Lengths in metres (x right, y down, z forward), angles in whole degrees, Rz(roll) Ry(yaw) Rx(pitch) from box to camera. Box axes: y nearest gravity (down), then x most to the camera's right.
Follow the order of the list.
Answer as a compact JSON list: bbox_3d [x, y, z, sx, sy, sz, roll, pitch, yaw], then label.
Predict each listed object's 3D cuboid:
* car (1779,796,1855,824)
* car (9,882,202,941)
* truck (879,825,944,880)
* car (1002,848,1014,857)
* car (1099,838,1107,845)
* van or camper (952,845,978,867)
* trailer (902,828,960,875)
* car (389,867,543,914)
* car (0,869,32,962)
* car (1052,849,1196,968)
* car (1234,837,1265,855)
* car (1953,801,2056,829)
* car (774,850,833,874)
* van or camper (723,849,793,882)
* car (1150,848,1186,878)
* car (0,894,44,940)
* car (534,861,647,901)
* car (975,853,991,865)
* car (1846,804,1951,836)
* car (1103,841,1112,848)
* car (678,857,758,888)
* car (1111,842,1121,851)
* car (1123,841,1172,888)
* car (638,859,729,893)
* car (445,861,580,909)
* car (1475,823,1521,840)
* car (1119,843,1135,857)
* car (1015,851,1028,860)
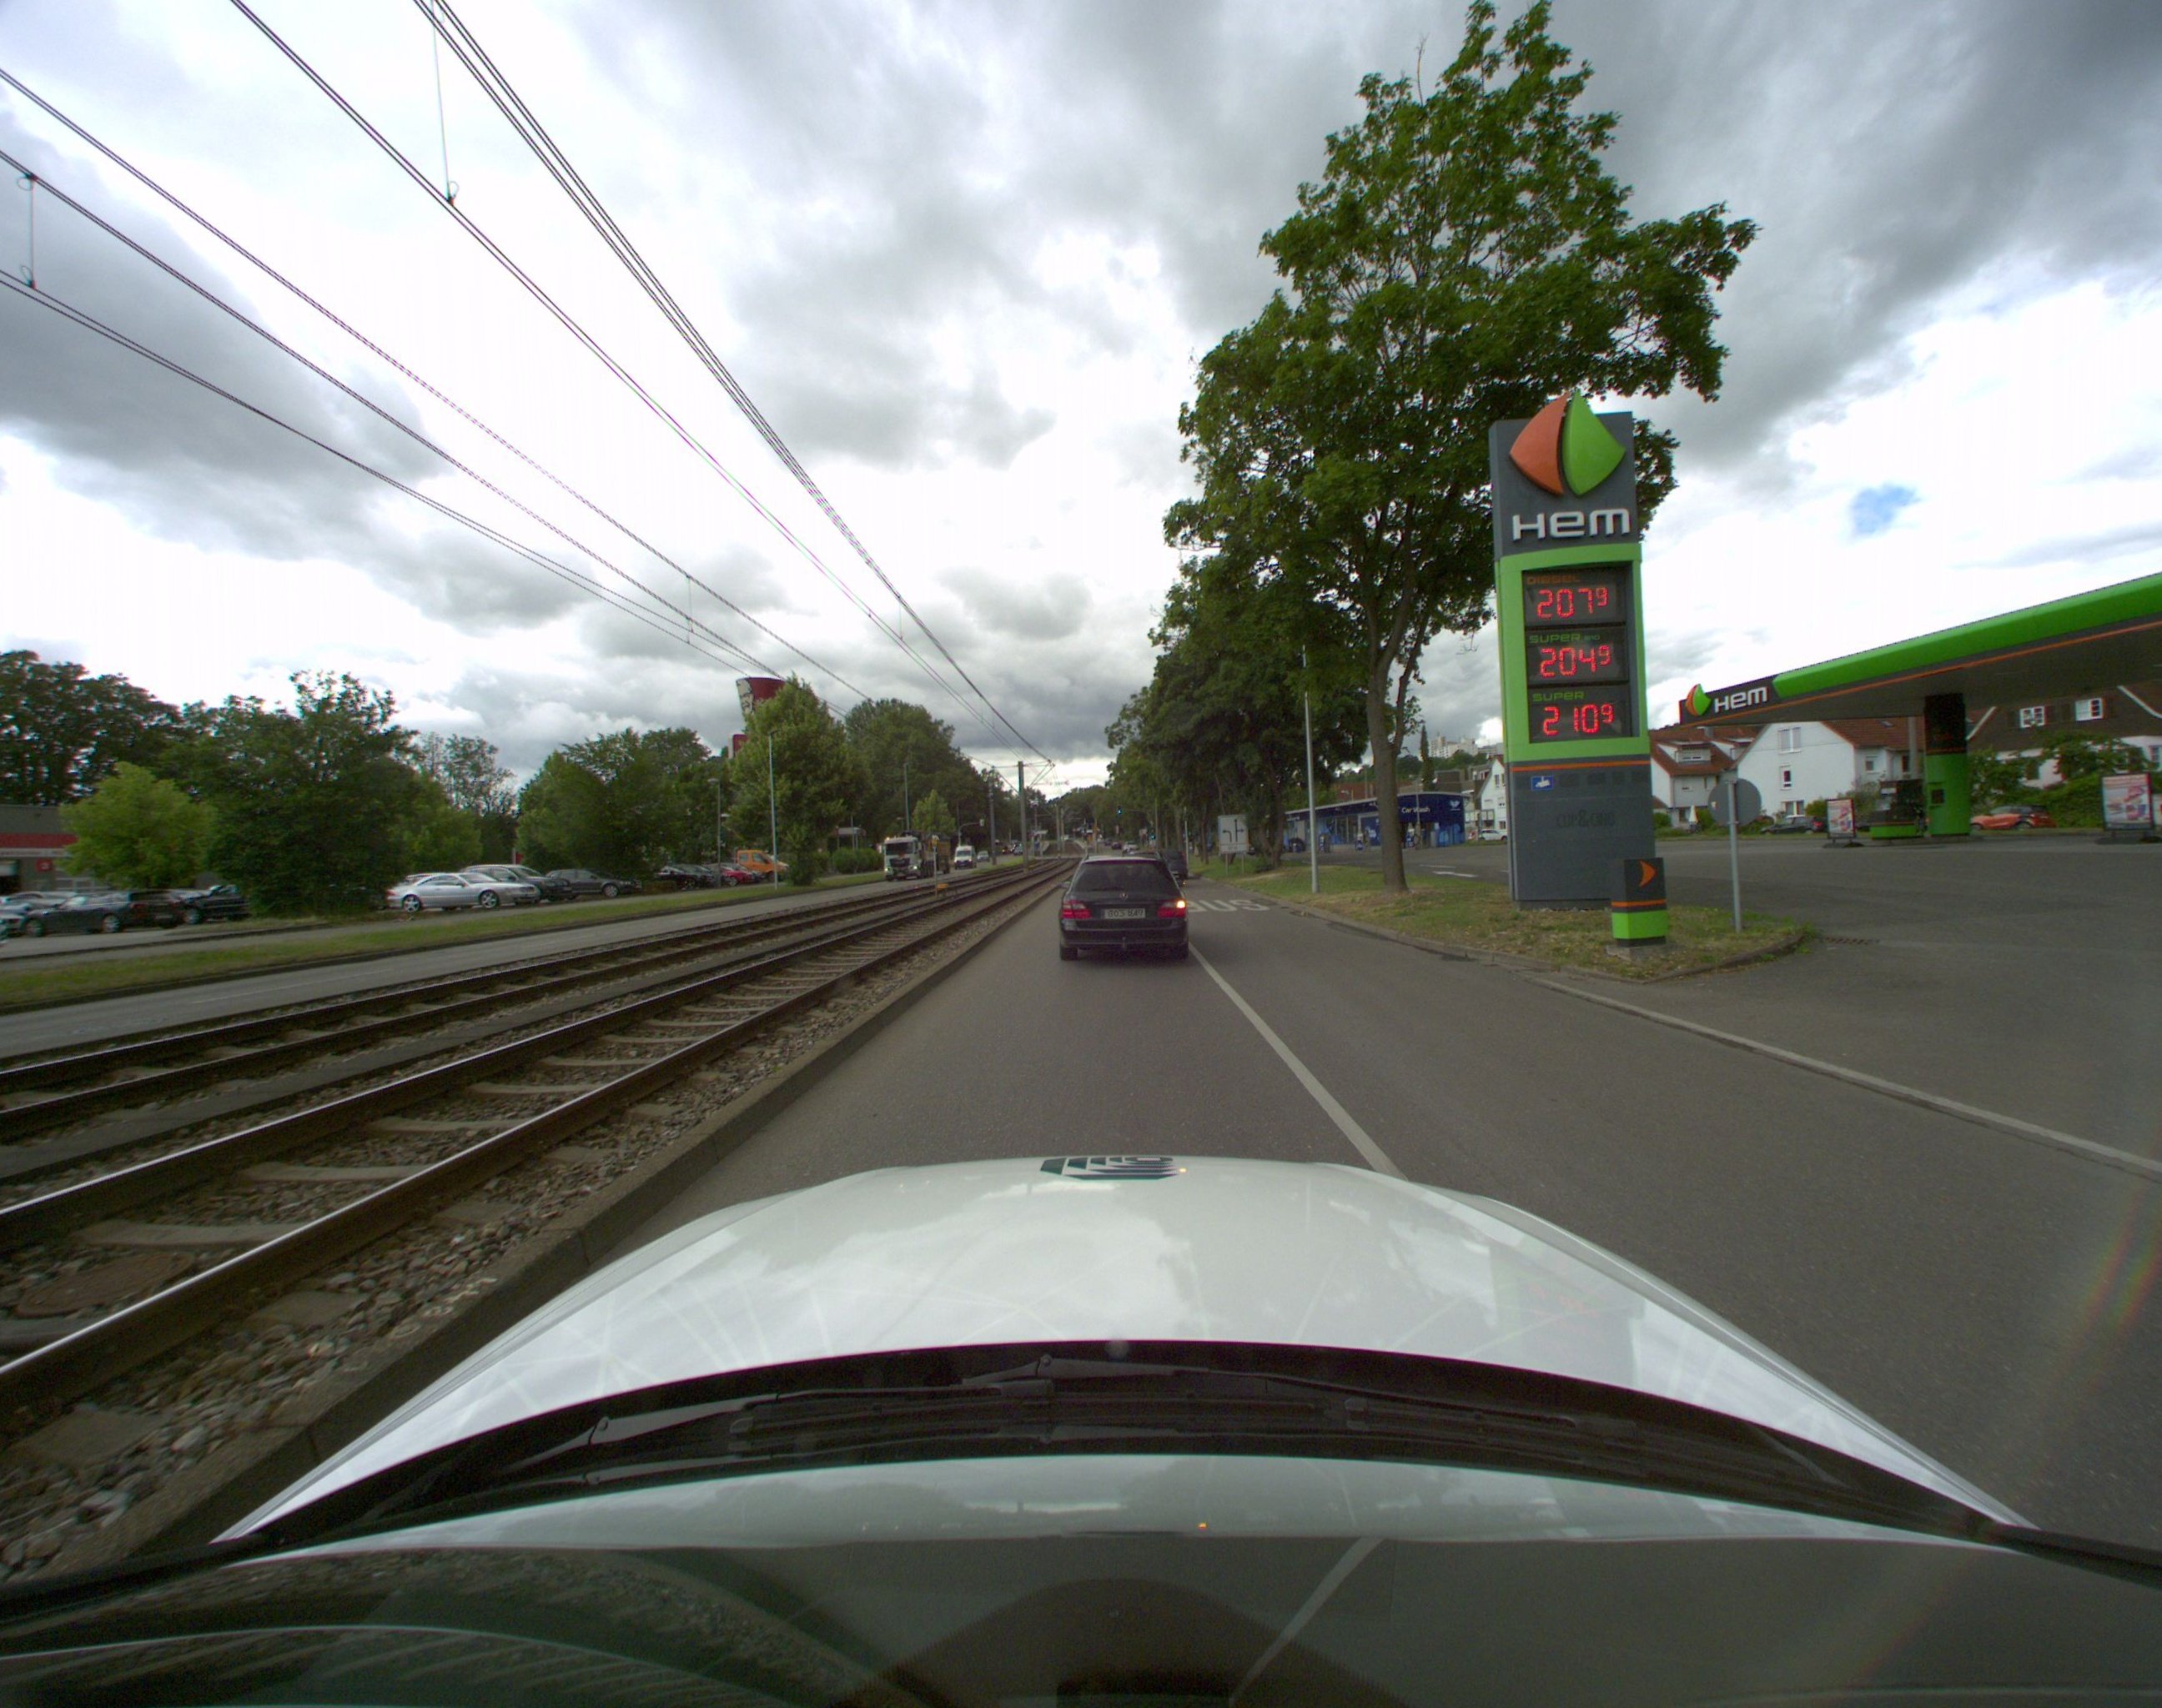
[{"bbox_3d":[51.324,-3.039,56.908,1.683,1.684,4.002,-3,0,2],"label":"car"},{"bbox_3d":[-33.925,1.964,28.419,4.271,1.684,1.939,-3,0,0],"label":"car"},{"bbox_3d":[-12.757,-0.125,62.383,2.698,3.663,11.107,-3,0,-1],"label":"truck"},{"bbox_3d":[-14.382,-0.244,160.520,1.758,1.647,3.772,-1,0,2],"label":"car"},{"bbox_3d":[5.683,-3.263,209.766,1.986,1.714,4.002,-3,0,2],"label":"car"},{"bbox_3d":[-13.107,0.223,92.298,1.987,2.354,5.765,-3,0,0],"label":"van or camper"},{"bbox_3d":[-12.924,-0.233,71.336,2.697,3.660,13.291,-3,0,-1],"label":"trailer"},{"bbox_3d":[-22.662,1.325,30.110,4.294,1.472,1.680,-2,0,-1],"label":"car"},{"bbox_3d":[-23.035,1.298,15.277,3.978,1.797,1.876,-3,0,-3],"label":"car"},{"bbox_3d":[0.605,0.677,12.238,1.802,1.474,3.882,-1,0,2],"label":"car"},{"bbox_3d":[17.056,-0.845,82.256,1.987,1.682,4.607,-3,0,26],"label":"car"},{"bbox_3d":[47.889,-2.009,42.311,1.416,1.264,3.323,-1,0,-10],"label":"car"},{"bbox_3d":[-21.804,0.608,64.073,3.978,1.599,1.795,-3,0,-3],"label":"car"},{"bbox_3d":[-21.853,0.774,55.242,3.978,2.135,1.876,-1,0,-3],"label":"van or camper"},{"bbox_3d":[4.319,0.444,40.817,1.565,1.414,3.355,0,0,2],"label":"car"},{"bbox_3d":[-39.114,2.287,28.274,3.940,1.507,1.683,-3,0,0],"label":"car"},{"bbox_3d":[-22.560,1.216,37.577,3.978,1.599,1.876,-3,0,-3],"label":"car"},{"bbox_3d":[-14.008,0.646,116.648,1.758,1.647,3.772,-1,0,2],"label":"car"},{"bbox_3d":[46.917,-1.926,46.868,1.755,1.689,3.986,-1,0,-10],"label":"car"},{"bbox_3d":[6.045,-2.279,186.492,1.662,1.532,3.768,-1,0,-2],"label":"car"},{"bbox_3d":[-22.254,1.110,50.021,3.978,1.797,1.876,-1,0,-3],"label":"car"},{"bbox_3d":[7.271,-1.536,168.021,1.986,1.838,4.001,-1,0,2],"label":"car"},{"bbox_3d":[2.584,0.413,32.367,1.774,1.750,3.719,0,0,2],"label":"car"},{"bbox_3d":[-21.816,1.186,44.847,3.978,1.599,1.876,-3,0,-3],"label":"car"},{"bbox_3d":[-22.719,1.226,32.678,3.978,1.635,1.876,-3,0,-3],"label":"car"},{"bbox_3d":[46.441,-2.501,90.725,4.203,1.684,1.777,-1,0,-1],"label":"car"},{"bbox_3d":[6.219,-0.491,111.045,1.986,1.838,4.001,-1,0,2],"label":"car"},{"bbox_3d":[-10.489,0.236,143.284,1.758,1.647,3.772,-1,0,2],"label":"car"}]
